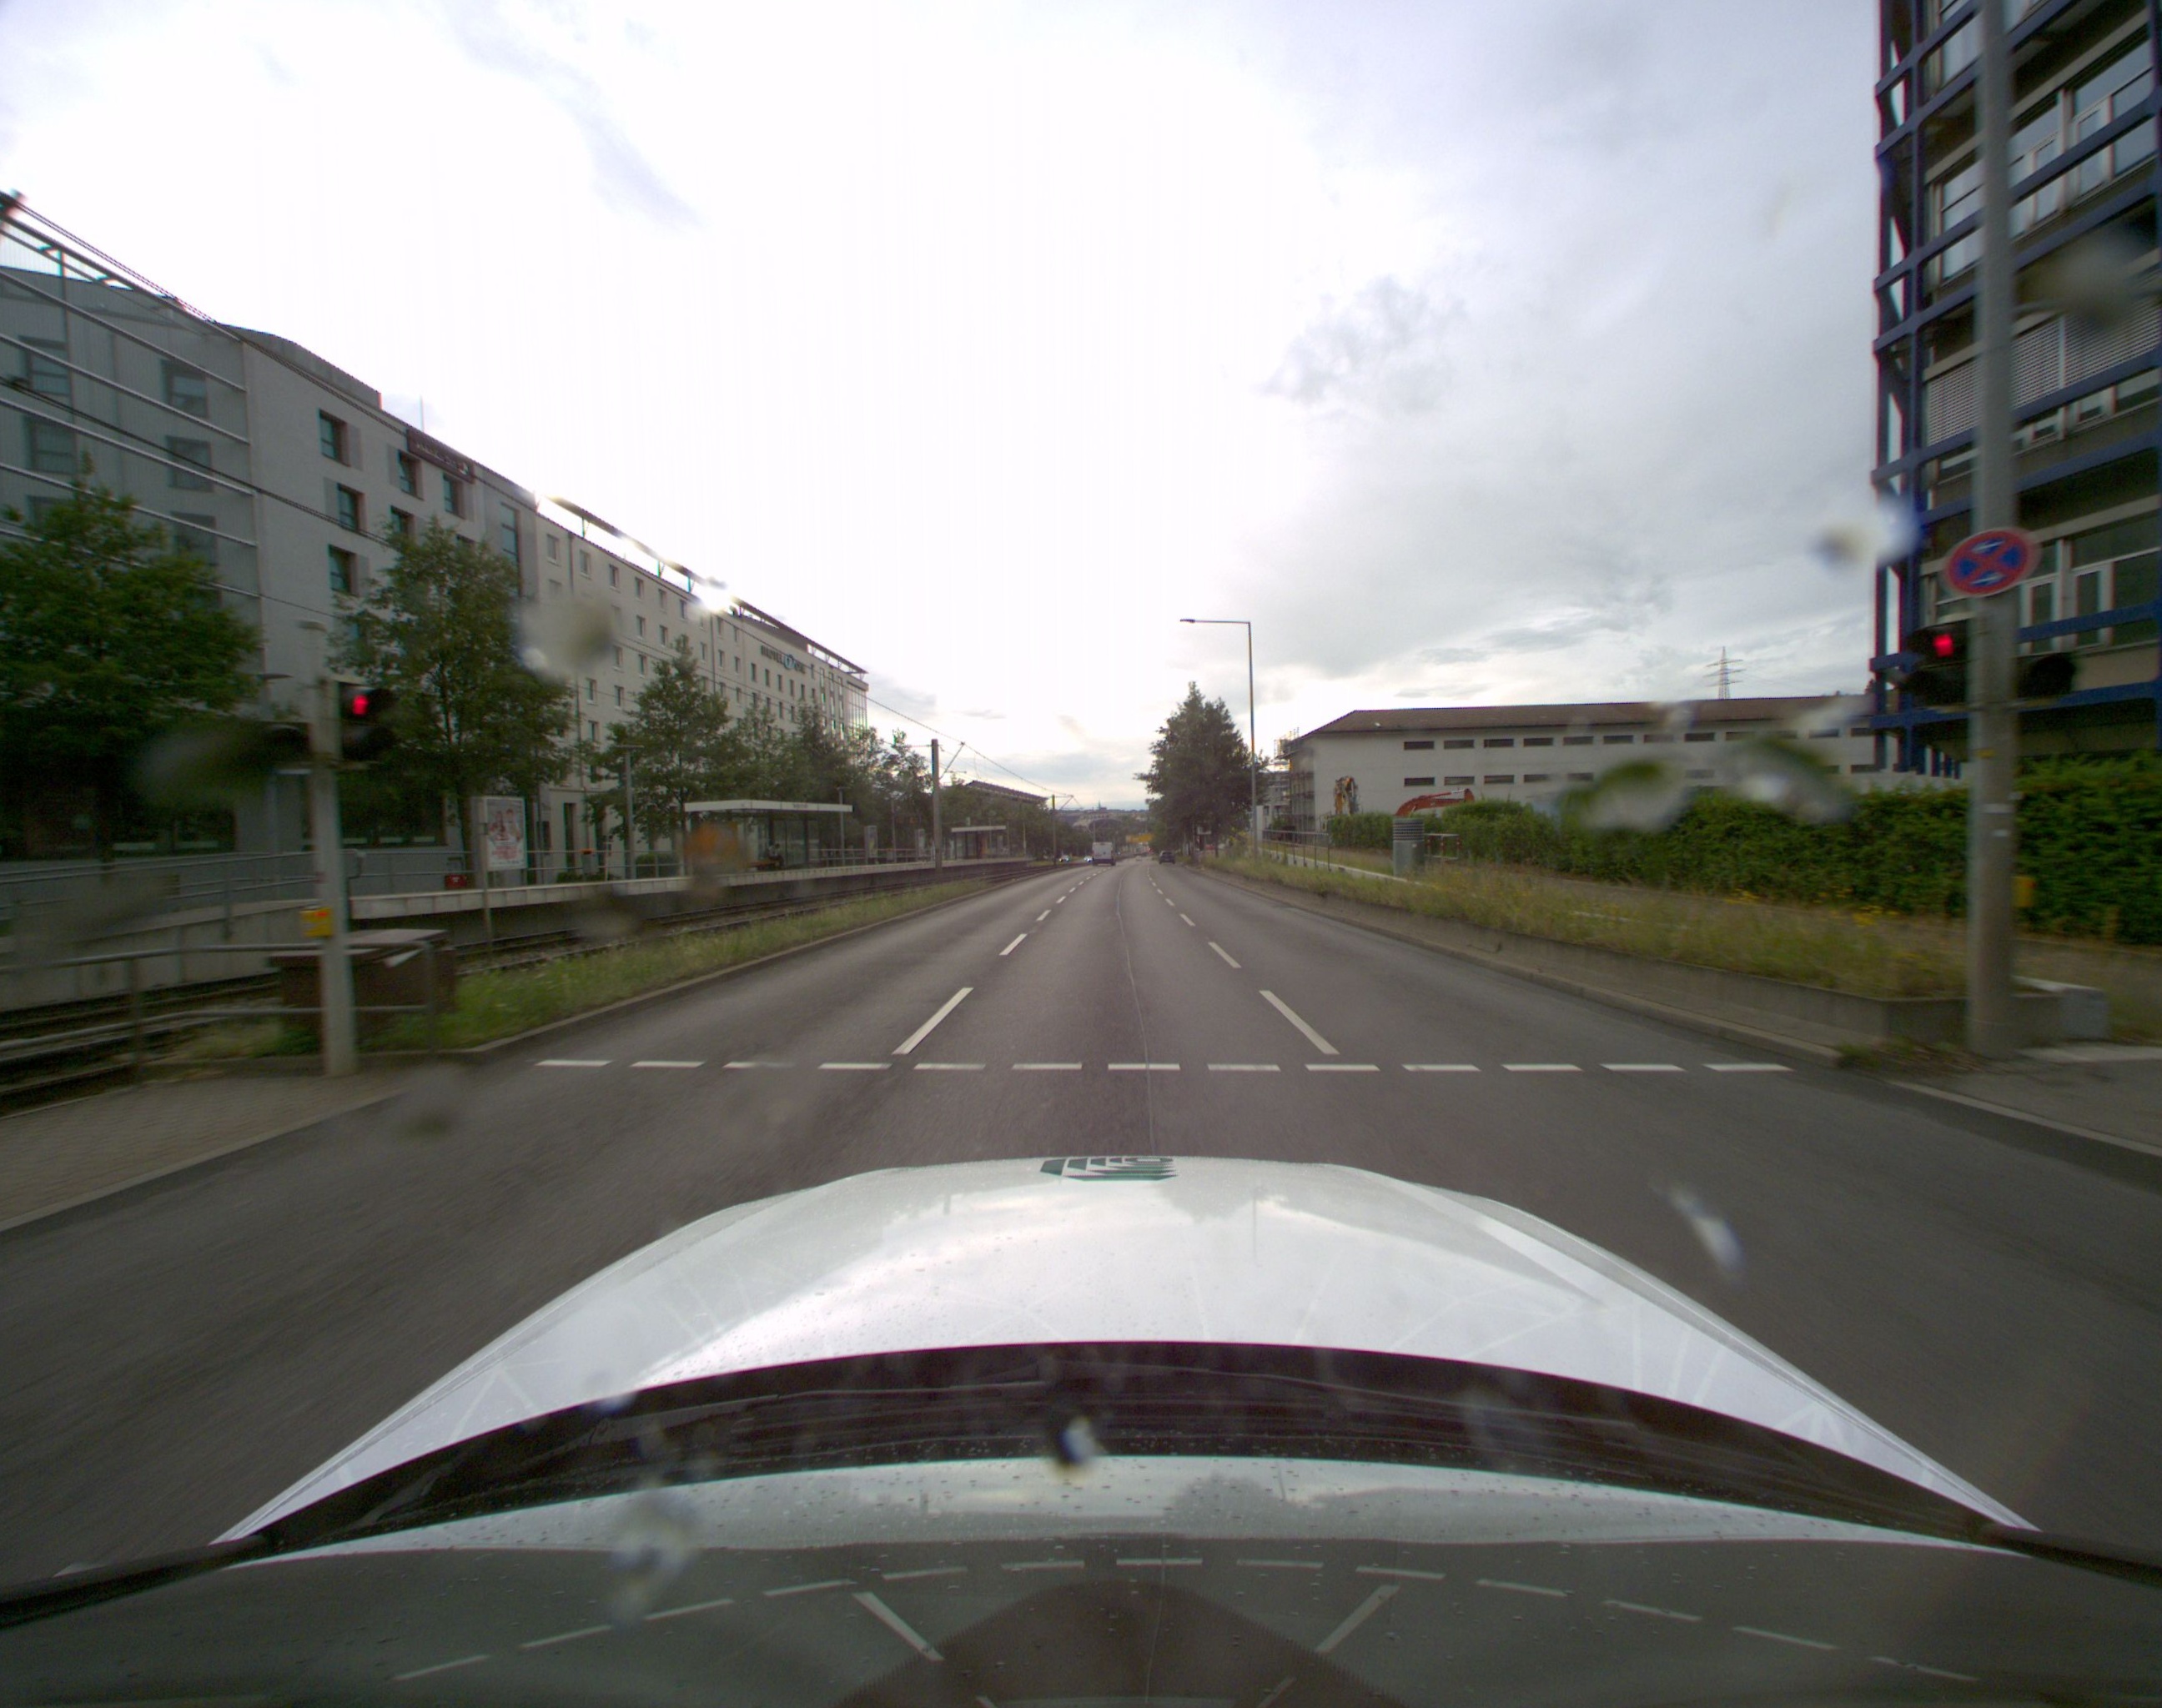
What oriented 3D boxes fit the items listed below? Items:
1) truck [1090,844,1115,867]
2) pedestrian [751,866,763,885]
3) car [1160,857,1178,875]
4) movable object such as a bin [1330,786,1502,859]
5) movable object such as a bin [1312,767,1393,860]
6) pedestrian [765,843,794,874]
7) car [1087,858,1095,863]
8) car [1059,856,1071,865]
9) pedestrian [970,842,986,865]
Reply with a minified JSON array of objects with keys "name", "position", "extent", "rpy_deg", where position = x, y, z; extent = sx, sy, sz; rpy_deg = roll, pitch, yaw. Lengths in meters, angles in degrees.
[{"name":"truck","position":[2.170,0.172,80.218],"extent":[2.350,2.262,5.310],"rpy_deg":[0,-1,3]},{"name":"pedestrian","position":[-26.389,1.744,66.350],"extent":[0.597,1.578,0.836],"rpy_deg":[0,-1,4]},{"name":"car","position":[9.773,1.313,90.759],"extent":[1.984,2.014,3.940],"rpy_deg":[0,-1,5]},{"name":"movable object such as a bin","position":[26.618,-2.413,65.264],"extent":[12.093,5.261,3.791],"rpy_deg":[-2,-1,2]},{"name":"movable object such as a bin","position":[18.001,-2.475,54.692],"extent":[3.274,5.685,8.776],"rpy_deg":[0,-1,5]},{"name":"pedestrian","position":[-13.048,0.181,35.247],"extent":[0.957,1.300,0.685],"rpy_deg":[-2,0,3]},{"name":"car","position":[2.757,1.777,228.656],"extent":[1.828,1.444,4.435],"rpy_deg":[-3,0,6]},{"name":"car","position":[-3.466,1.344,179.824],"extent":[1.984,1.847,5.009],"rpy_deg":[-3,0,5]},{"name":"pedestrian","position":[-9.181,-0.062,72.455],"extent":[1.262,2.014,1.129],"rpy_deg":[0,-1,-1]}]
